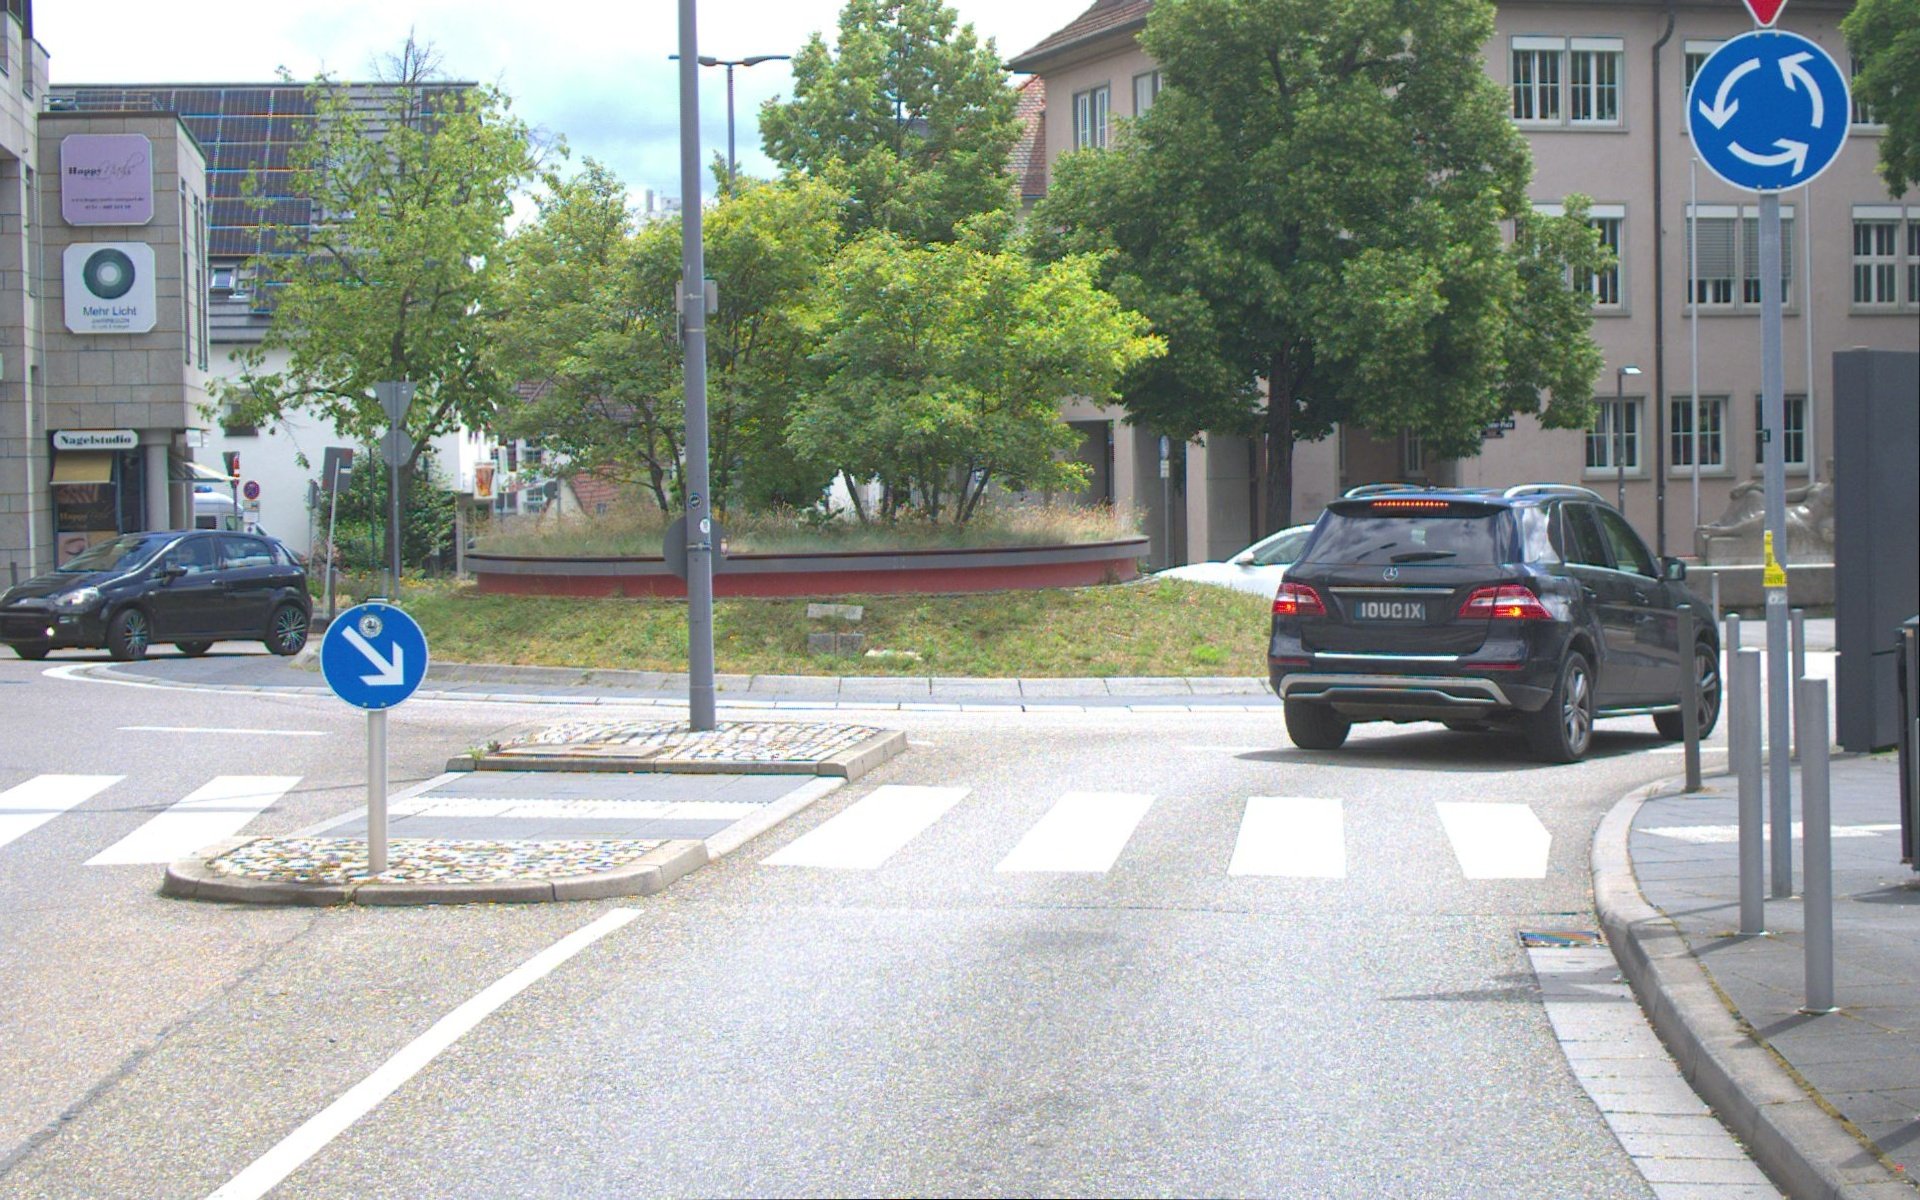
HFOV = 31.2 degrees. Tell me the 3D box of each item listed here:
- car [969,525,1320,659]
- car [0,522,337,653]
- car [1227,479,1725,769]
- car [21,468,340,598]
[{"bbox_3d":[2.413,-0.113,44.581,4.257,1.571,1.848,-2,1,13],"label":"car"},{"bbox_3d":[-9.155,-0.104,39.250,1.701,1.414,4.111,-1,-1,32],"label":"car"},{"bbox_3d":[3.606,0.062,23.319,2.030,1.721,4.427,1,3,27],"label":"car"},{"bbox_3d":[-16.566,-1.376,73.101,6.283,2.551,2.207,1,-2,-24],"label":"car"}]
